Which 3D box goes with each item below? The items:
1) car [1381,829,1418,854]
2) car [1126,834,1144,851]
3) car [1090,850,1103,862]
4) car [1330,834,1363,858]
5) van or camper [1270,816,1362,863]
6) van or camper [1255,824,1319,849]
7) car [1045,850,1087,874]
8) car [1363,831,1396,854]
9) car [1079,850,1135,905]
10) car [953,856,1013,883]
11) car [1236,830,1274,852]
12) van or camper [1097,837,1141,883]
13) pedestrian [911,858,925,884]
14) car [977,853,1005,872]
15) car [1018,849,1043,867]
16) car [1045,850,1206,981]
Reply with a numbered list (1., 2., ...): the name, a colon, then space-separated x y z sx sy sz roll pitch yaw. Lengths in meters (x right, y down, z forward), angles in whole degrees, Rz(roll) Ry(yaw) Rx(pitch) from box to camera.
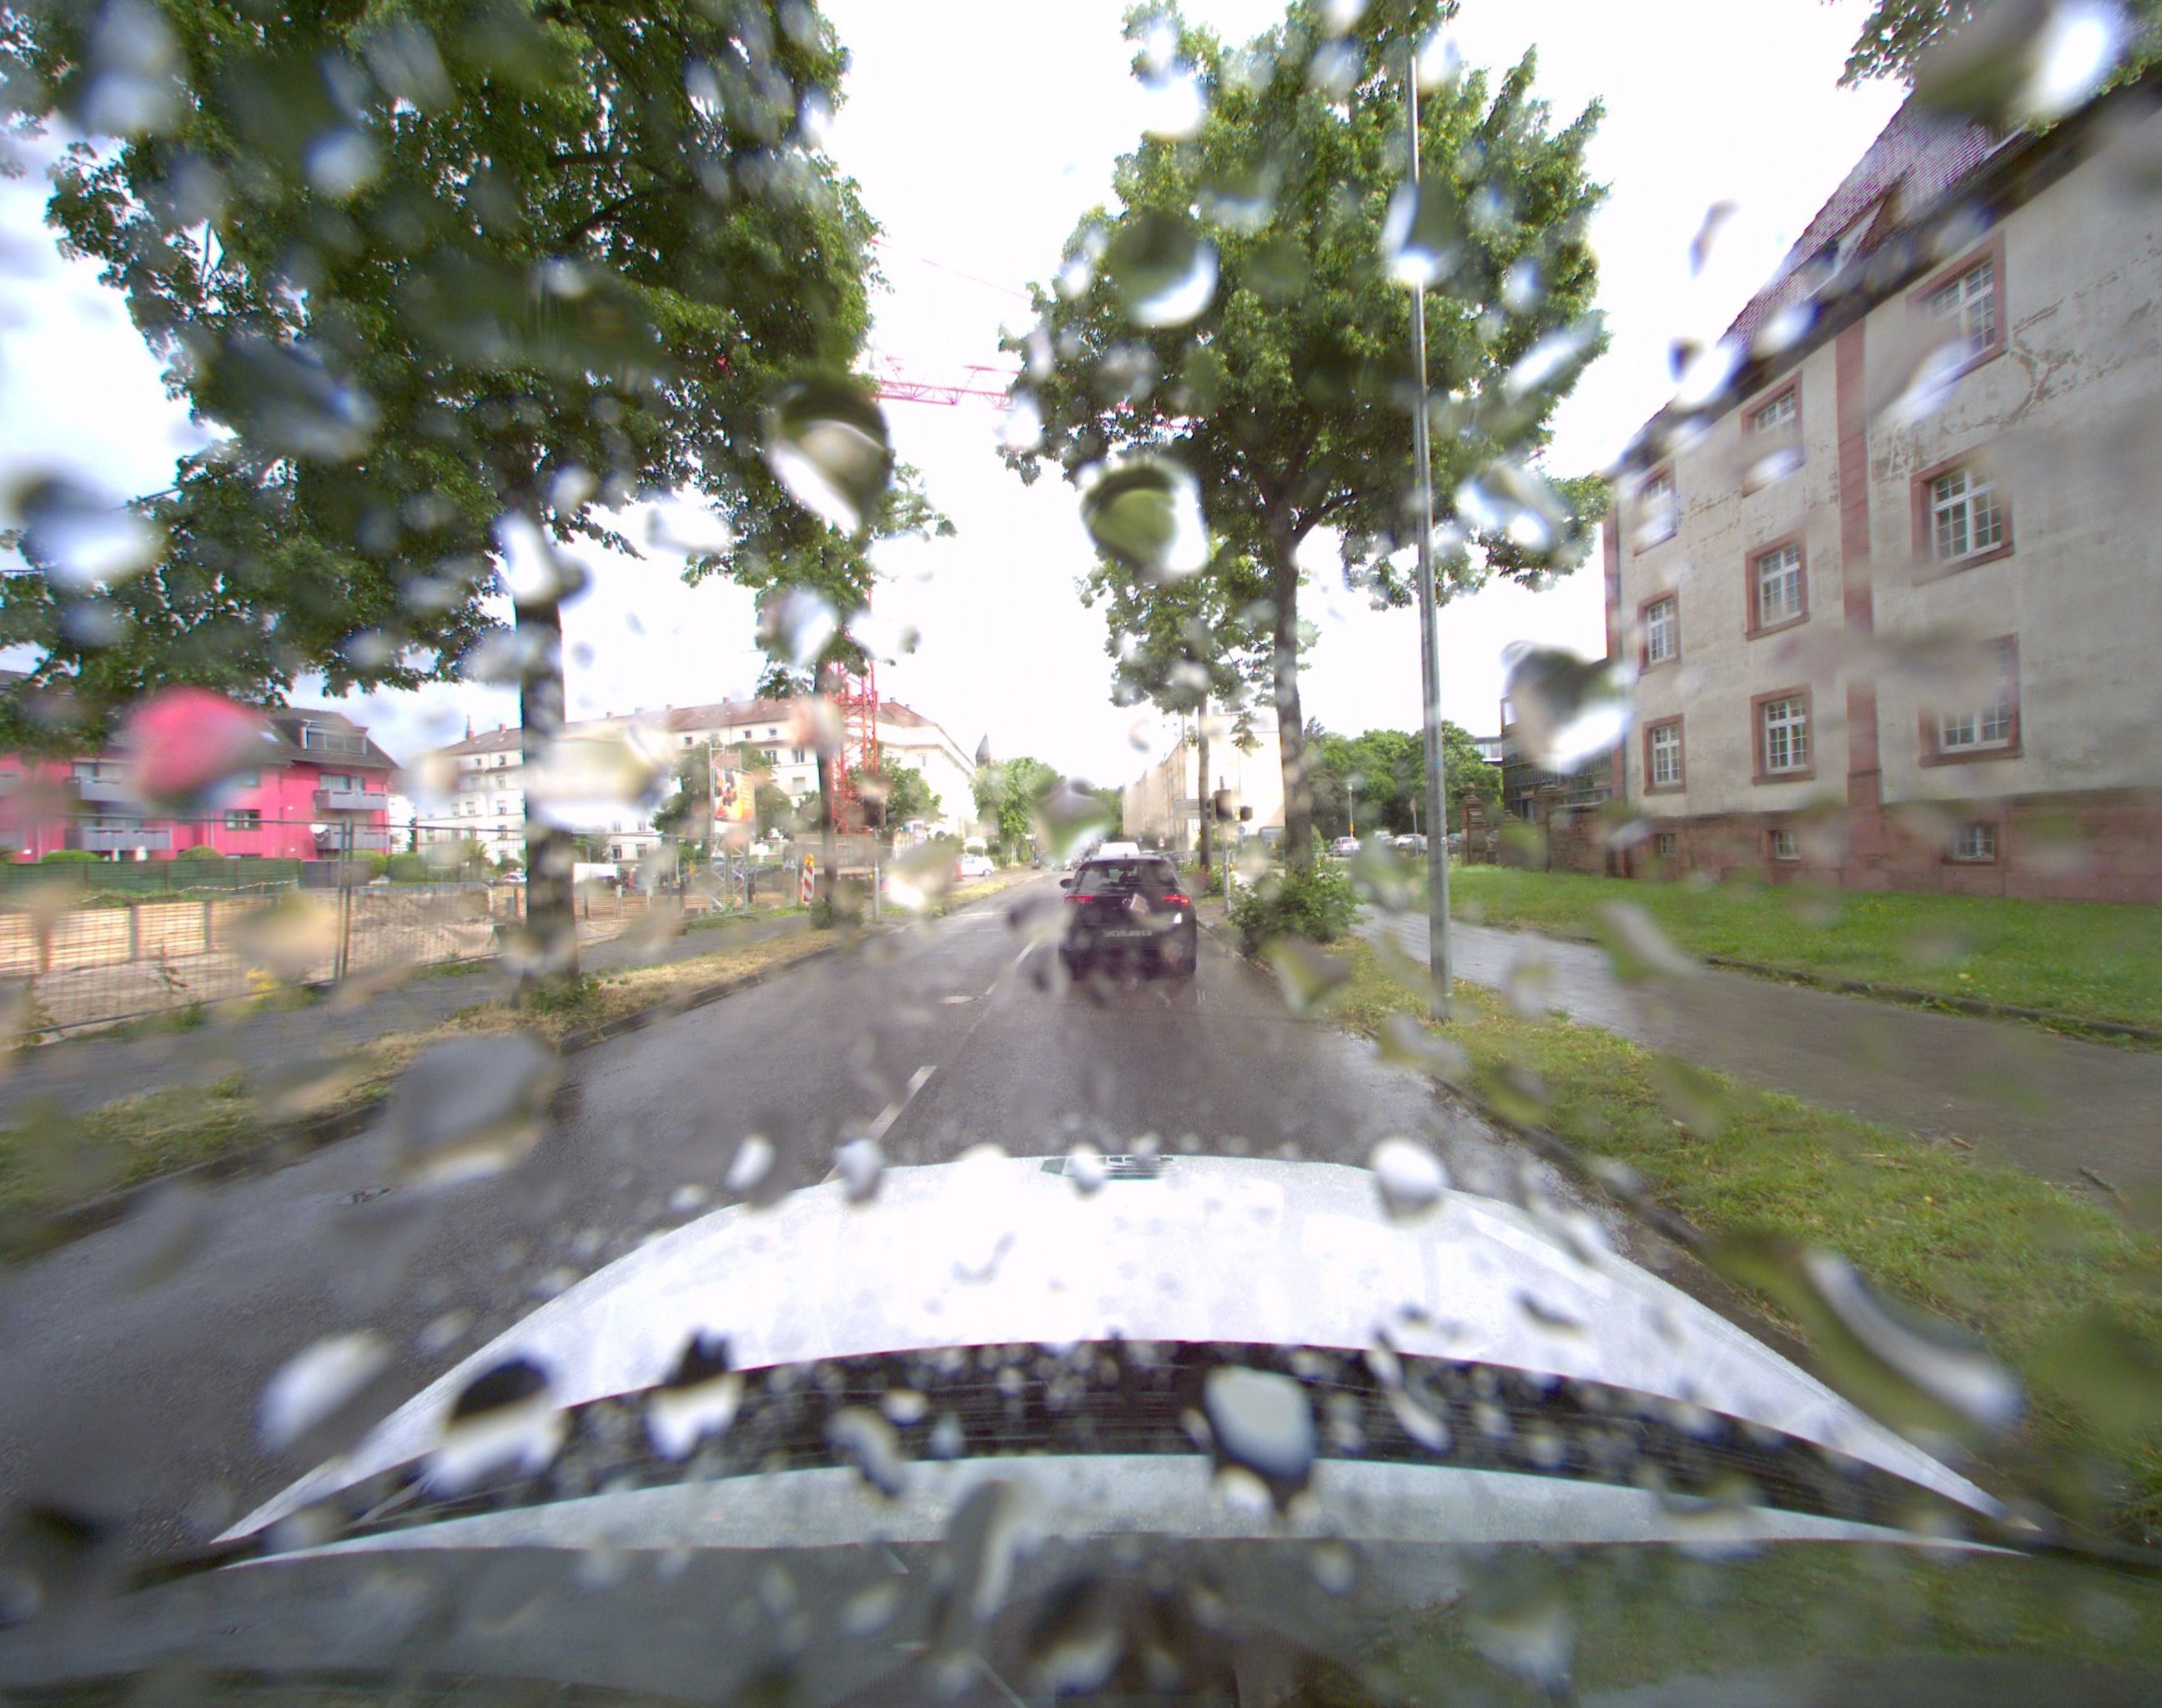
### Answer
1. car: 28.913 -1.117 74.091 1.984 2.013 4.007 -5 0 6
2. car: 6.352 -1.344 96.559 1.986 2.013 4.001 -1 0 2
3. car: 2.144 0.224 113.810 1.586 1.512 3.732 -5 0 1
4. car: 20.864 -0.648 64.116 1.733 1.684 3.879 -5 0 8
5. van or camper: 14.625 -0.895 50.926 5.016 2.596 2.168 -3 0 0
6. van or camper: 17.203 -1.458 68.337 4.856 1.925 2.132 -2 1 2
7. car: -1.190 0.634 67.114 1.774 1.683 4.509 -5 0 20
8. car: 29.037 -1.125 79.404 1.984 2.013 4.007 -5 0 6
9. car: 0.998 0.803 29.481 1.672 1.708 3.915 -5 -1 5
10. car: -7.315 1.134 60.748 3.943 1.651 1.745 -5 0 -25
11. car: 16.721 -1.204 78.256 3.386 1.781 1.765 -5 0 10
12. van or camper: 1.739 0.241 36.611 1.812 1.947 4.198 -1 0 3
13. pedestrian: -9.379 0.961 46.847 0.663 1.485 0.668 -2 1 -23
14. car: -8.324 0.772 75.321 1.582 1.512 3.740 -5 0 8
15. car: -4.764 0.385 77.260 1.582 1.512 3.740 -5 0 8
16. car: 0.621 0.728 11.767 1.887 1.522 4.003 -2 0 2
